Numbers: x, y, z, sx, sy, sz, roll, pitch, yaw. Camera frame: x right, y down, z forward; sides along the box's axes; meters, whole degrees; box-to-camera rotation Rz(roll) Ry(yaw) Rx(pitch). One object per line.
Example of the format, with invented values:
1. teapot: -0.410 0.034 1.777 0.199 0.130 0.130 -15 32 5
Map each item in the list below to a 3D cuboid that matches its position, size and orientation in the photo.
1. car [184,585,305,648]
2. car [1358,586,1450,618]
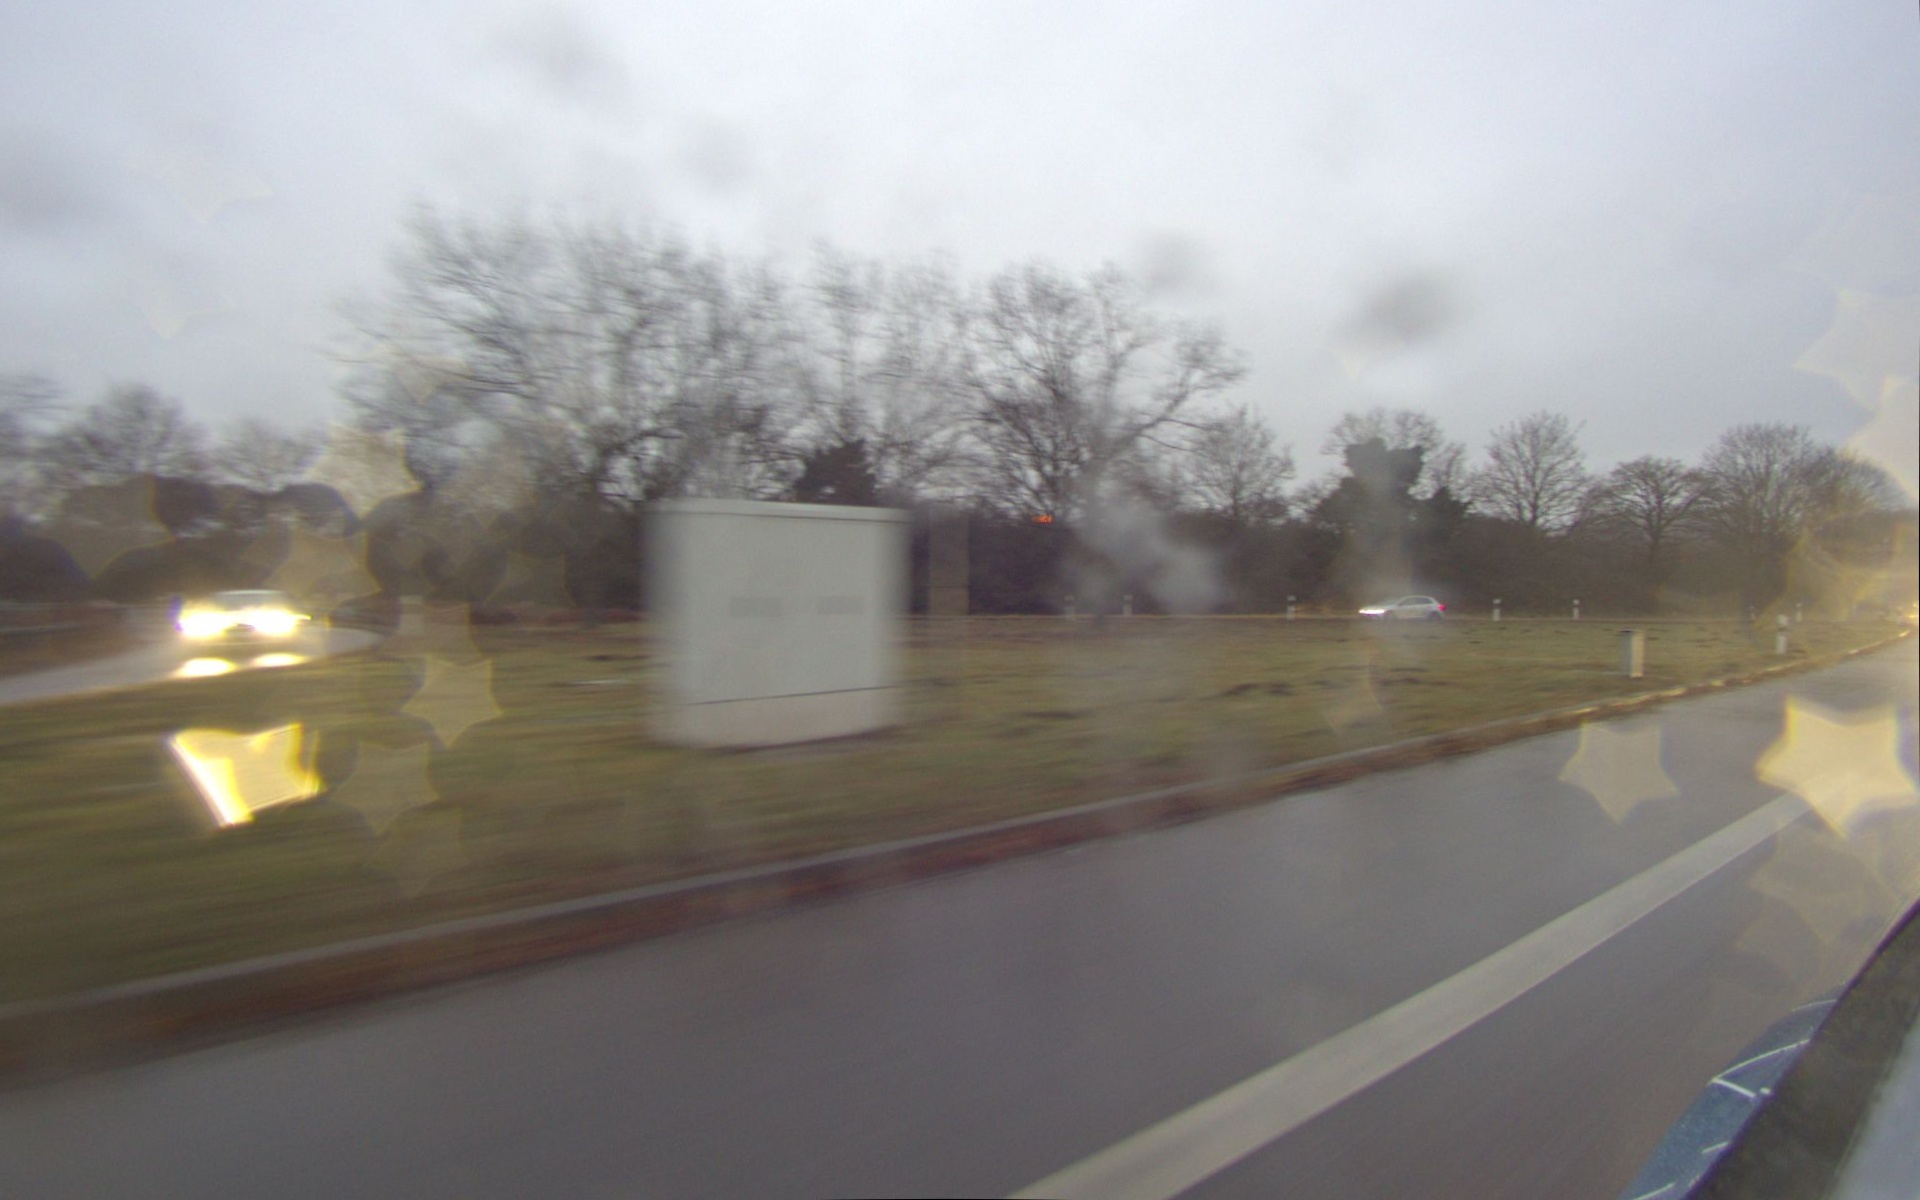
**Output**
1. car: -17.302 0.336 24.676 1.896 1.376 4.403 0 1 -28
2. car: 21.866 0.088 49.903 3.713 1.452 1.732 0 2 -8
